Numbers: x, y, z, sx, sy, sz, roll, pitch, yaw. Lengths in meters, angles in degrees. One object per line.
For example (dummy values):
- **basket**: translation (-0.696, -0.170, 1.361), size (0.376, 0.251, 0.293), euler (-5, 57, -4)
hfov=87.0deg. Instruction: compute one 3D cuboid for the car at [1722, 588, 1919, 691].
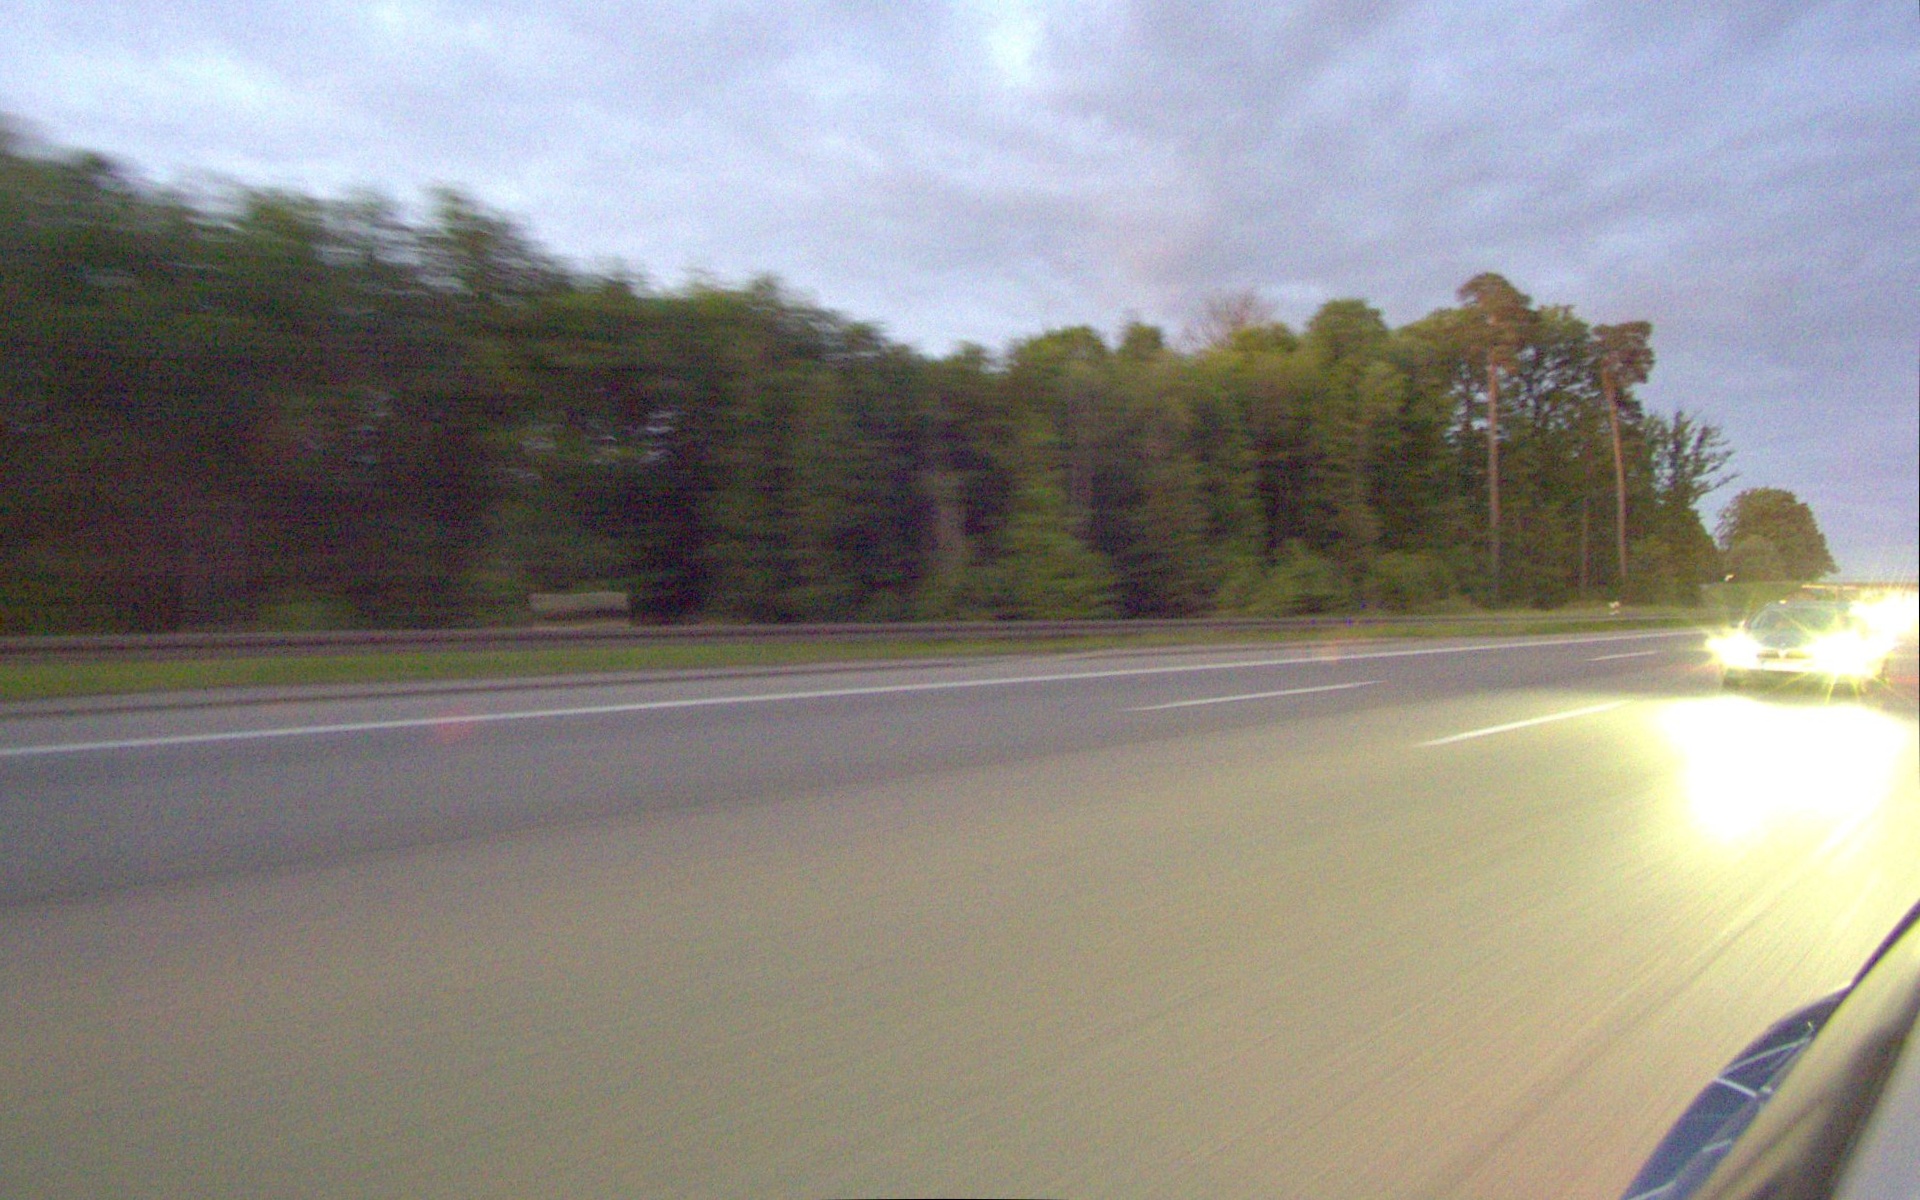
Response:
- **car**: translation (15.292, 0.599, 17.849), size (5.139, 1.556, 1.913), euler (0, 1, -41)
